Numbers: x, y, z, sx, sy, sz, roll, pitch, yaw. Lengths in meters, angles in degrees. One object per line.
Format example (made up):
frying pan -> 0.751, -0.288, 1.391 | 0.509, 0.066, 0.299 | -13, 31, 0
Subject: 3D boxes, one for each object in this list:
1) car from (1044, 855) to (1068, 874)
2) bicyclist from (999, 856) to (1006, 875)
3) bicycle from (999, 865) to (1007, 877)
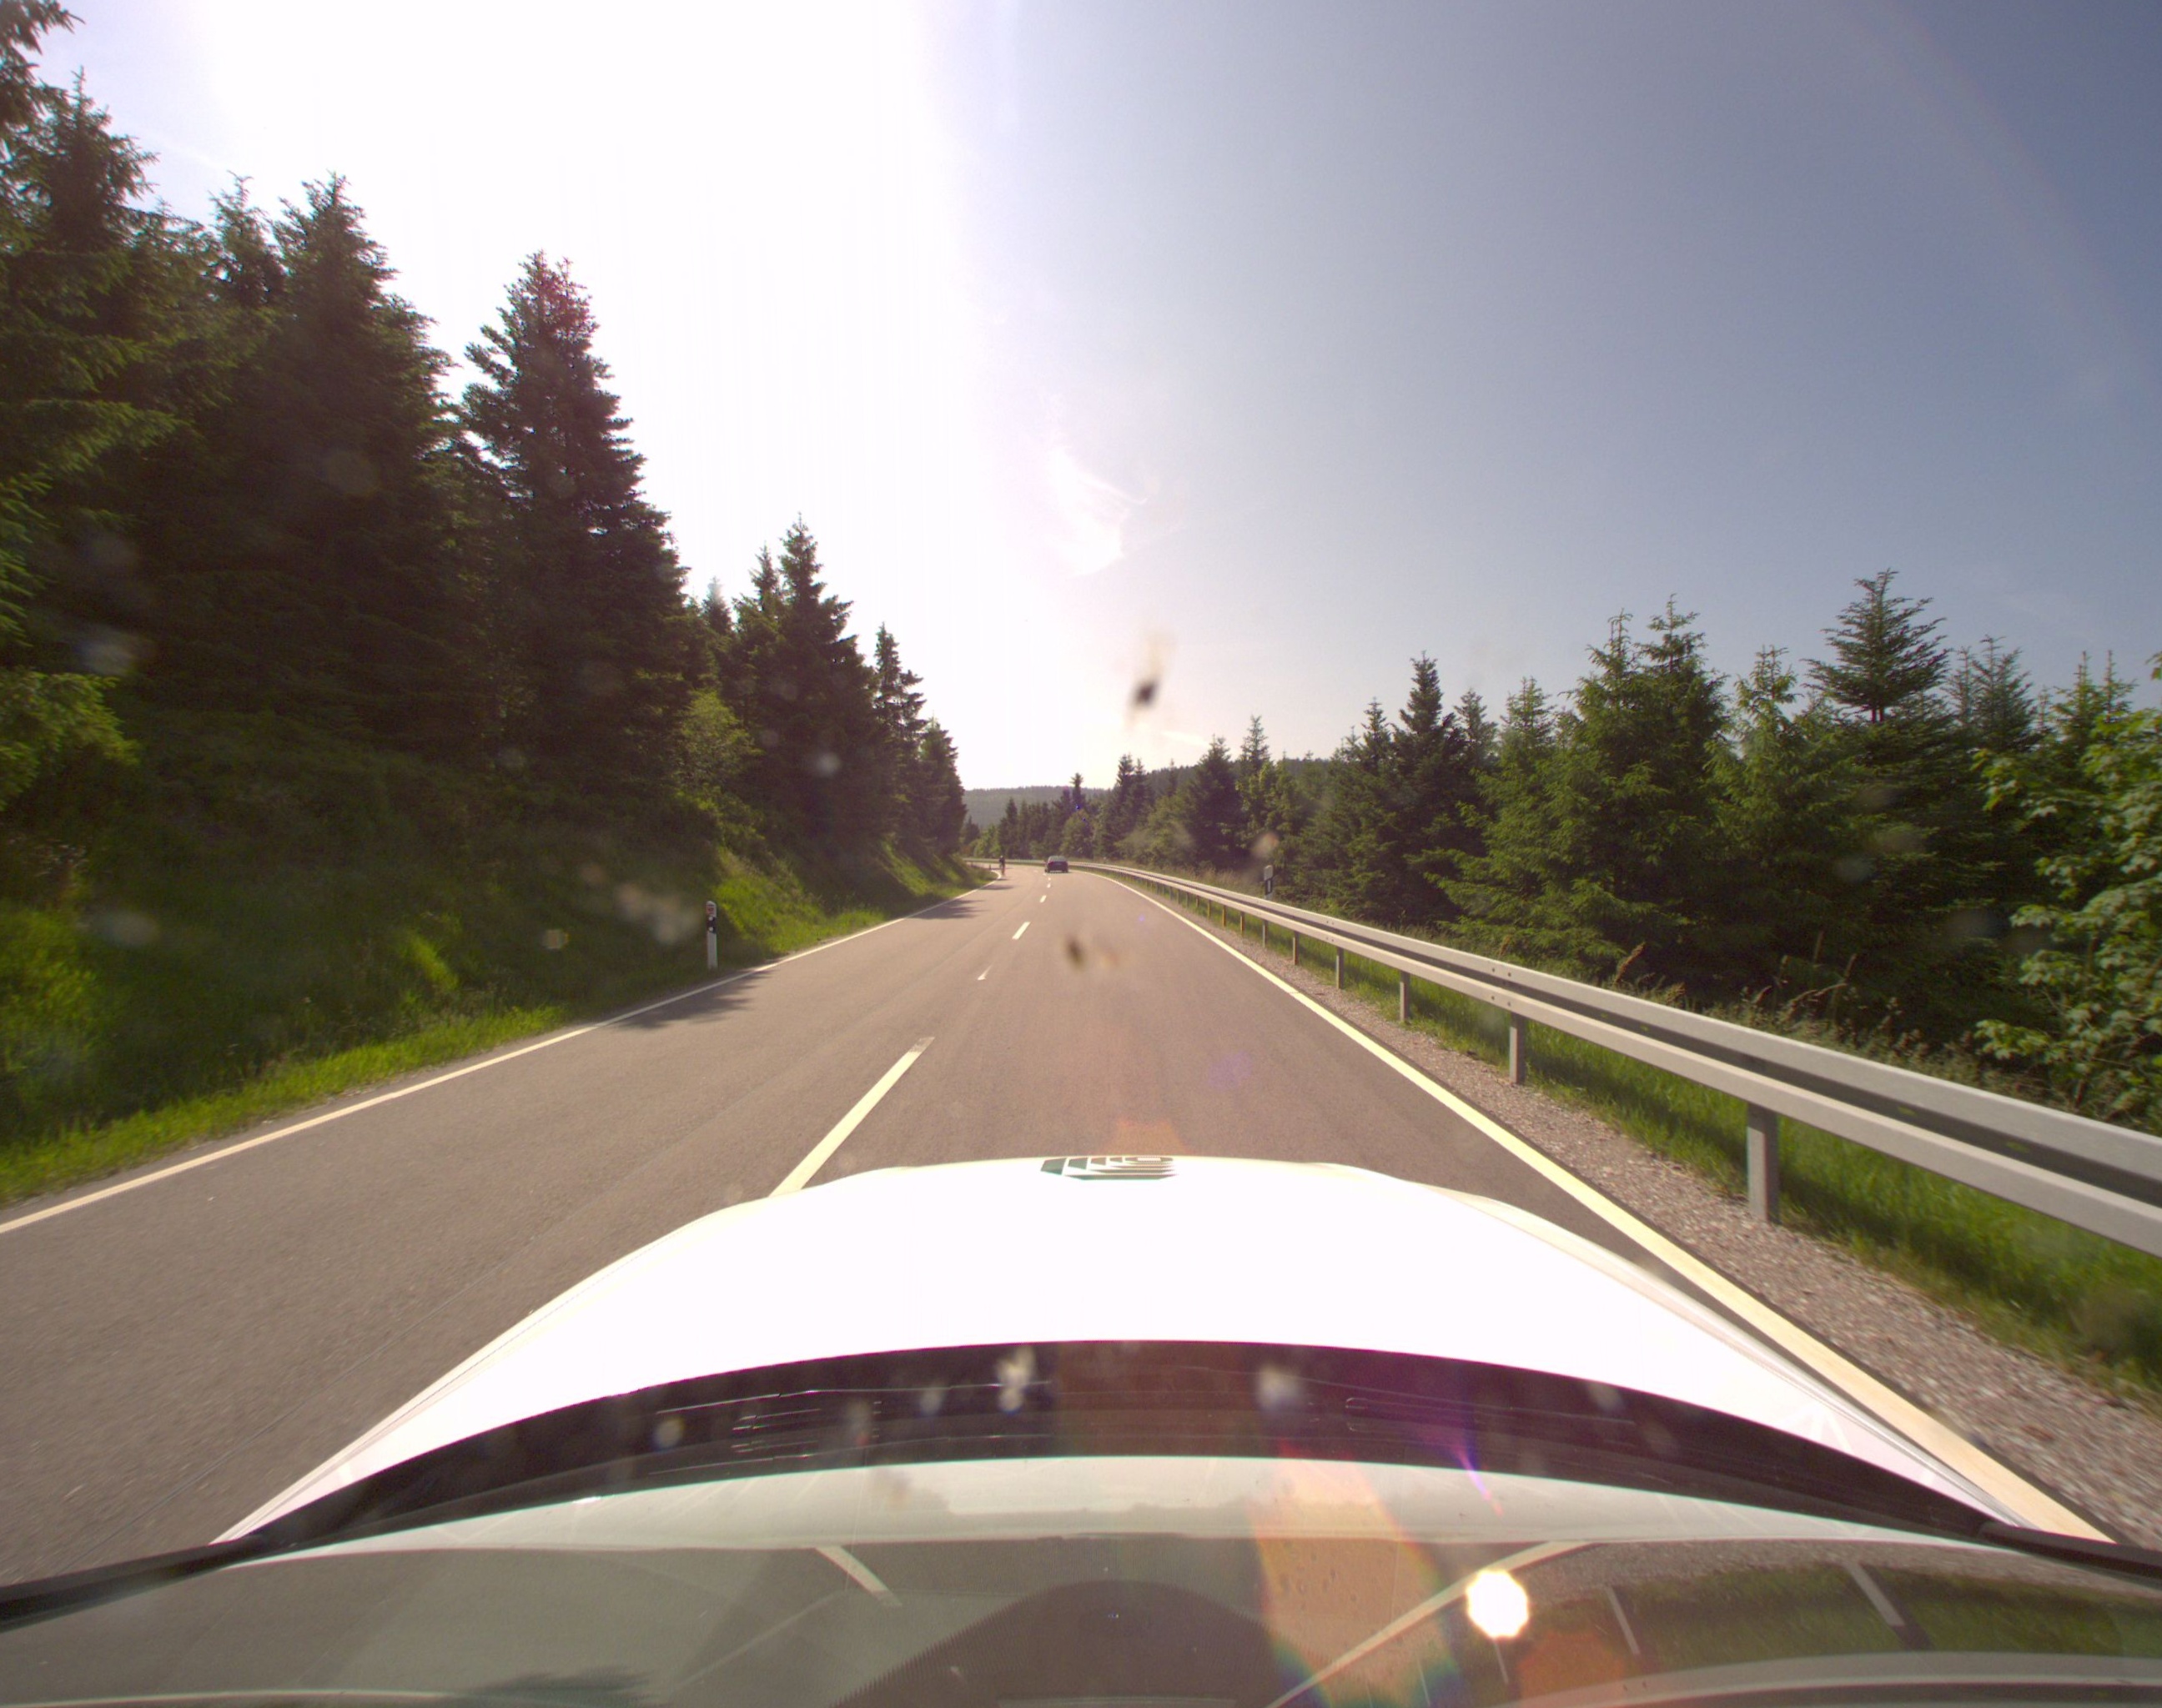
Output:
car -> -2.147, 0.886, 70.000 | 1.773, 1.442, 3.701 | -2, 0, -6
bicyclist -> -6.006, 0.876, 62.346 | 0.541, 1.451, 0.981 | -2, 0, -5
bicycle -> -5.993, 1.305, 62.455 | 0.552, 0.886, 2.058 | -2, 0, -5
